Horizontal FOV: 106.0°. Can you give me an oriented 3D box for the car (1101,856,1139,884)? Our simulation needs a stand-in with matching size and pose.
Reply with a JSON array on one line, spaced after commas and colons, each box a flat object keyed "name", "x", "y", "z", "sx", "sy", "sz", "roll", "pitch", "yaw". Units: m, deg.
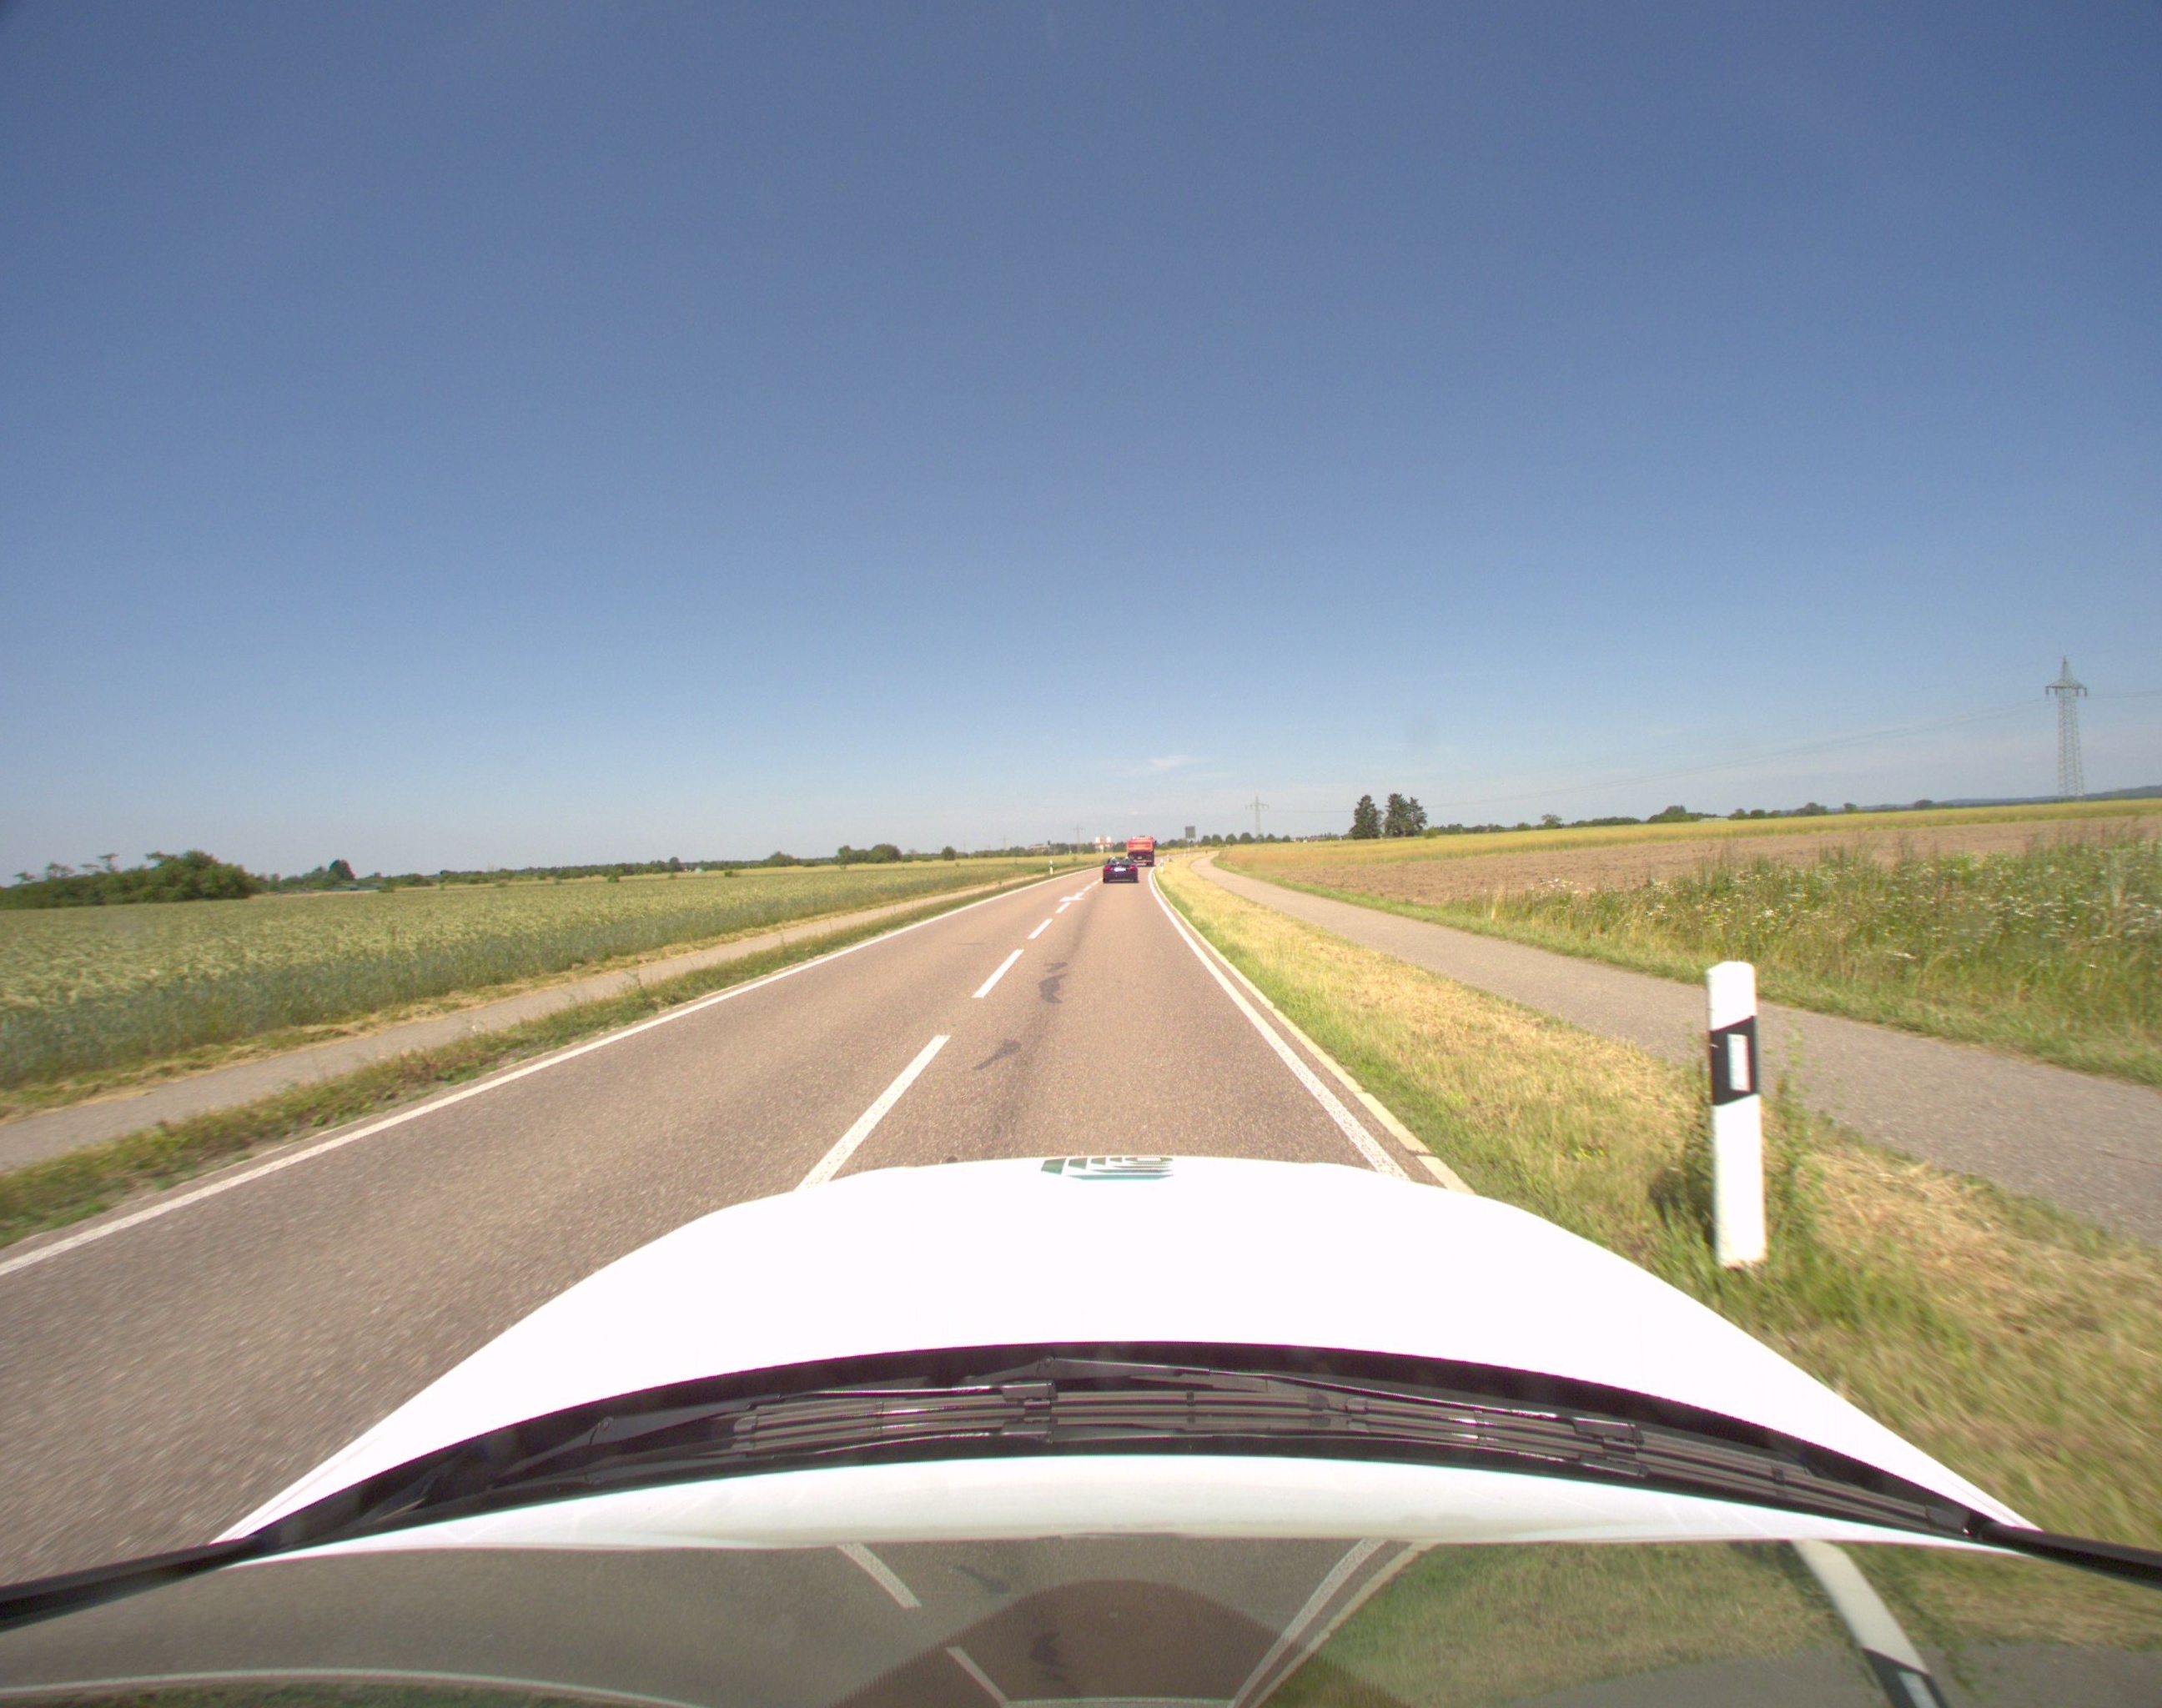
[{"name": "car", "x": 2.001, "y": 0.778, "z": 41.283, "sx": 1.735, "sy": 1.280, "sz": 4.005, "roll": -1, "pitch": 0, "yaw": 5}]

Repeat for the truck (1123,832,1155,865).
[{"name": "truck", "x": 5.891, "y": -0.485, "z": 82.067, "sx": 2.924, "sy": 3.089, "sz": 7.205, "roll": -2, "pitch": -1, "yaw": 5}]
